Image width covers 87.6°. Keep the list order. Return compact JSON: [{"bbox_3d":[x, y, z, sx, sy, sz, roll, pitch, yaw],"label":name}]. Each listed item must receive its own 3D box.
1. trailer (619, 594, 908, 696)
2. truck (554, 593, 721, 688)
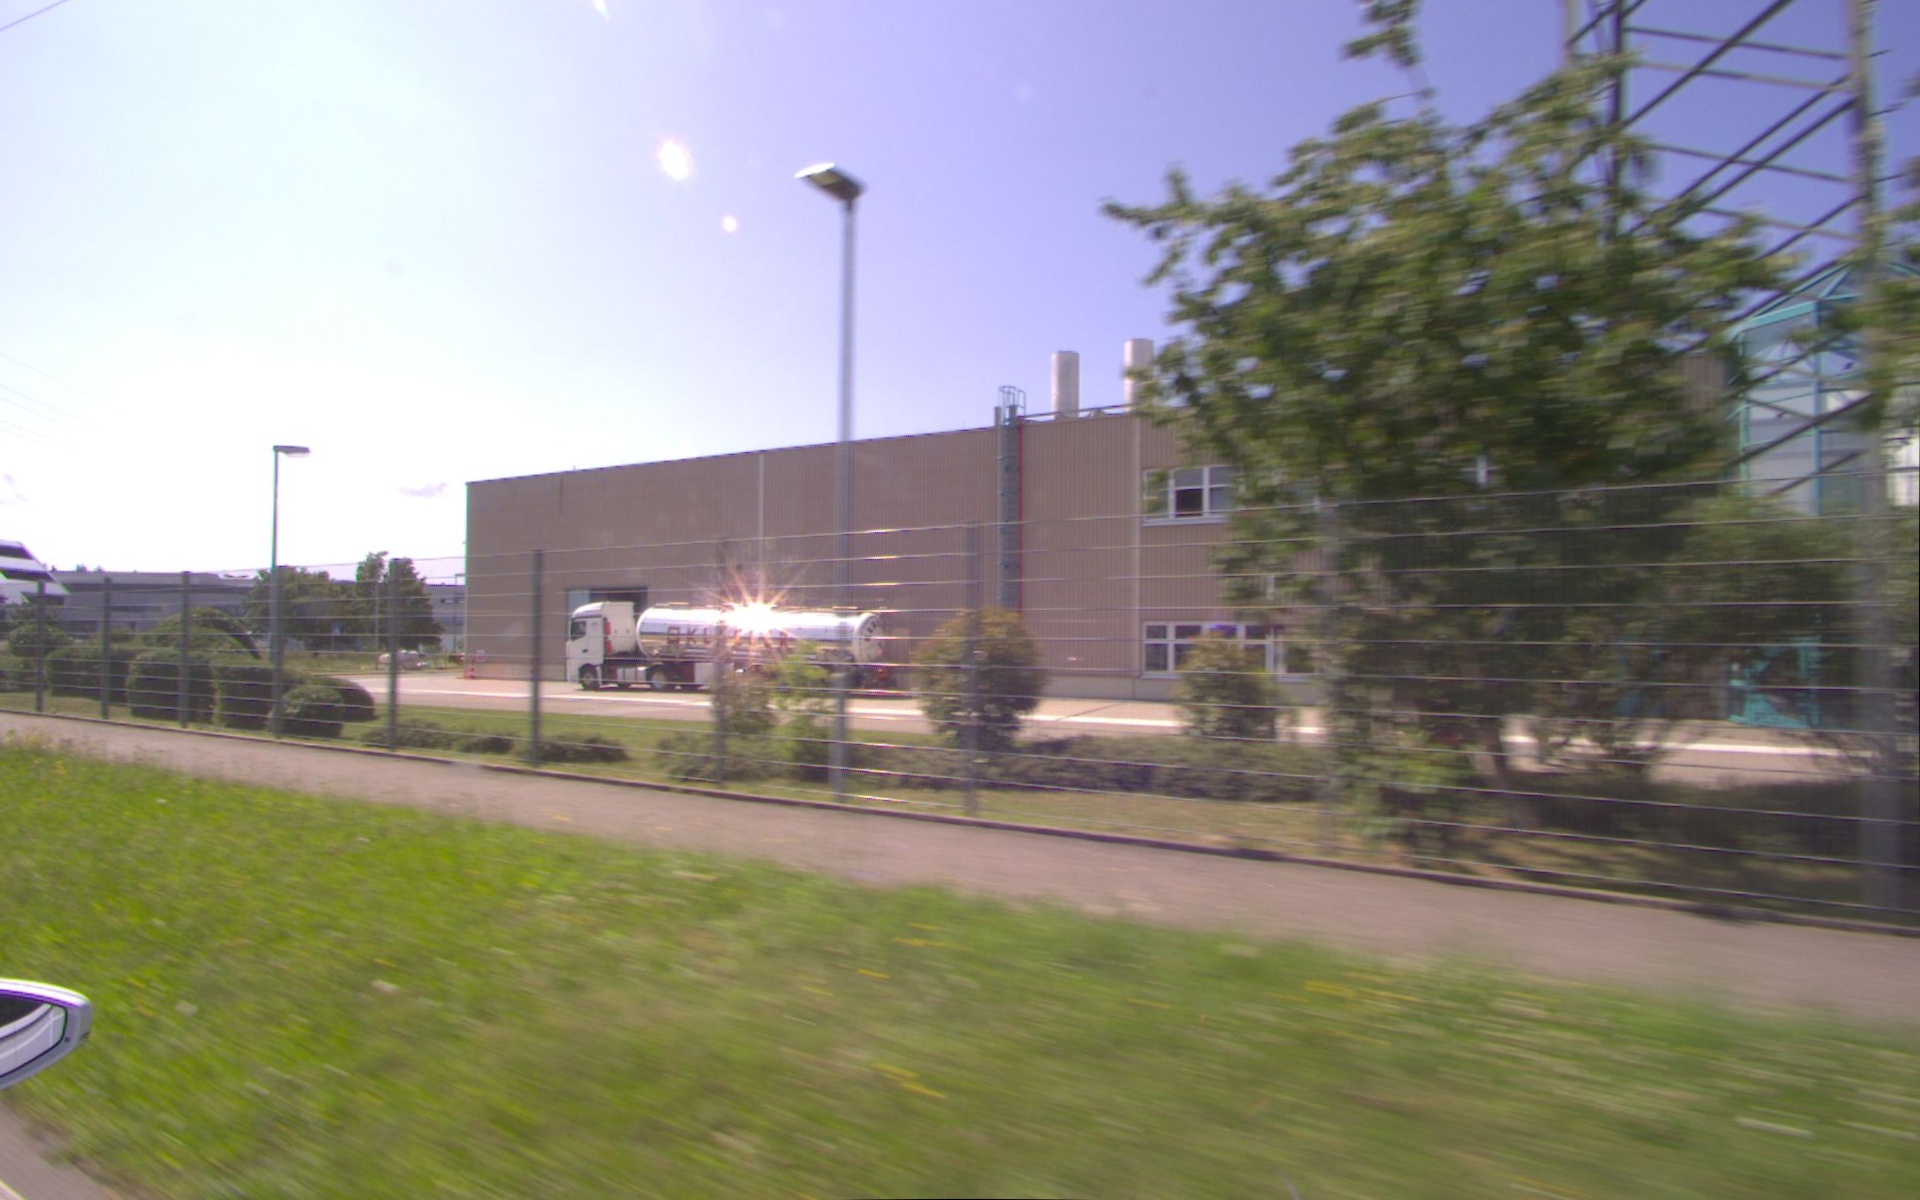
[{"bbox_3d":[-8.278,1.764,41.393,12.040,3.783,3.591,0,-1,26],"label":"trailer"},{"bbox_3d":[-14.247,1.739,44.349,6.302,3.917,3.596,0,-1,24],"label":"truck"}]
